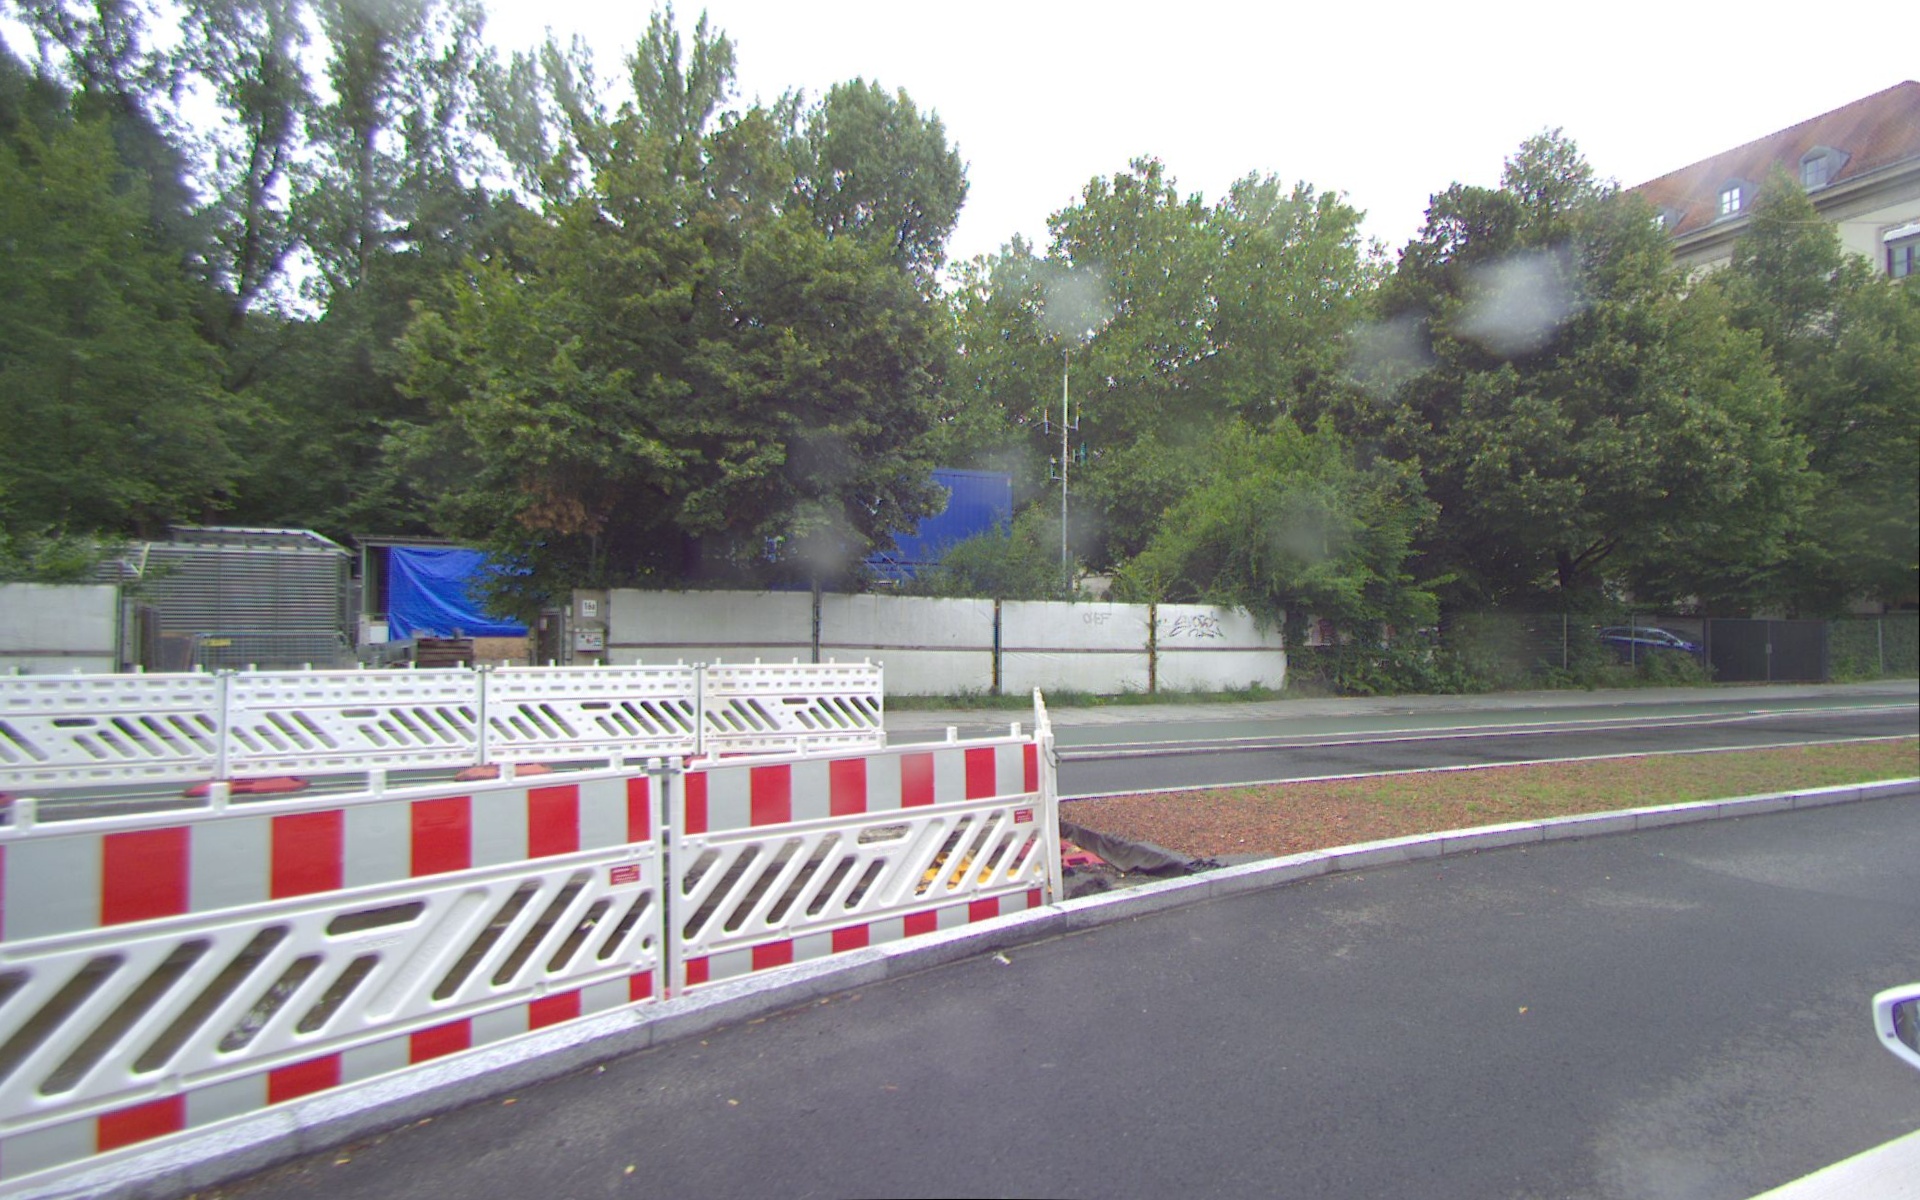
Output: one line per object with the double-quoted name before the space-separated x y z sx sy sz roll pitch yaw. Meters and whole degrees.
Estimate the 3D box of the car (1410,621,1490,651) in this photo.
"car" 25.964 1.885 53.245 3.946 1.564 1.765 1 -1 -25

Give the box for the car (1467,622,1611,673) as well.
"car" 19.511 1.558 34.082 1.775 1.609 4.145 0 -2 -17

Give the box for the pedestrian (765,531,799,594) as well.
"pedestrian" -5.310 -1.096 29.998 0.786 1.798 0.828 1 -1 -27

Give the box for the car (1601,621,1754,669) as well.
"car" 26.125 1.610 36.749 1.779 1.671 4.252 1 -2 -24
